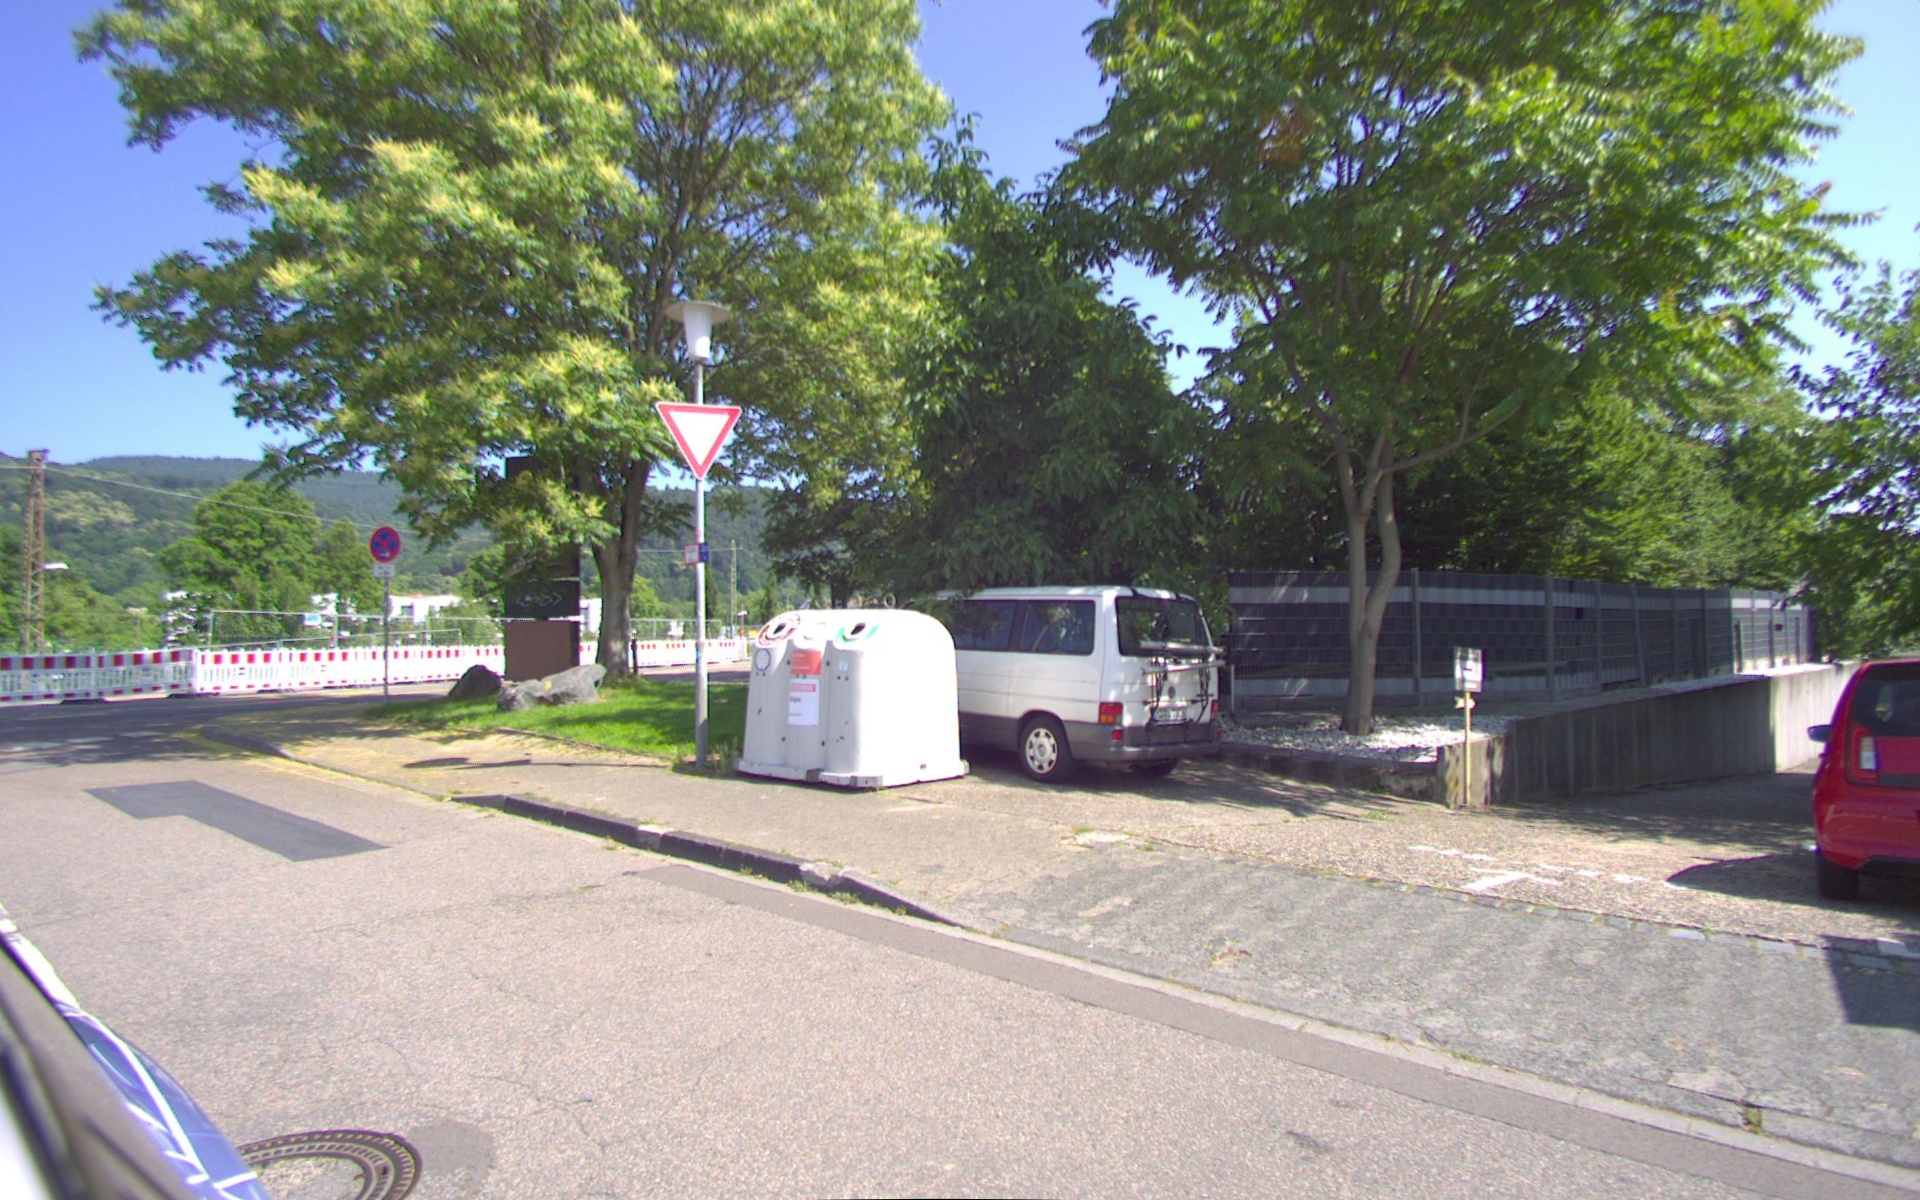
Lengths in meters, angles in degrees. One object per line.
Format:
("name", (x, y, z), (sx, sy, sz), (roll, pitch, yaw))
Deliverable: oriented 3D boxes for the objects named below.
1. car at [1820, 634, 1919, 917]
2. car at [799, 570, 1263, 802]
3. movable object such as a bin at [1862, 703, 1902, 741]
("car", (6.501, 1.063, 6.235), (1.650, 1.477, 3.375), (-2, -7, 43))
("car", (0.499, 0.780, 11.076), (1.969, 1.946, 5.108), (4, -3, -41))
("movable object such as a bin", (29.107, 3.854, 31.970), (0.878, 1.127, 0.687), (-2, -5, 41))
